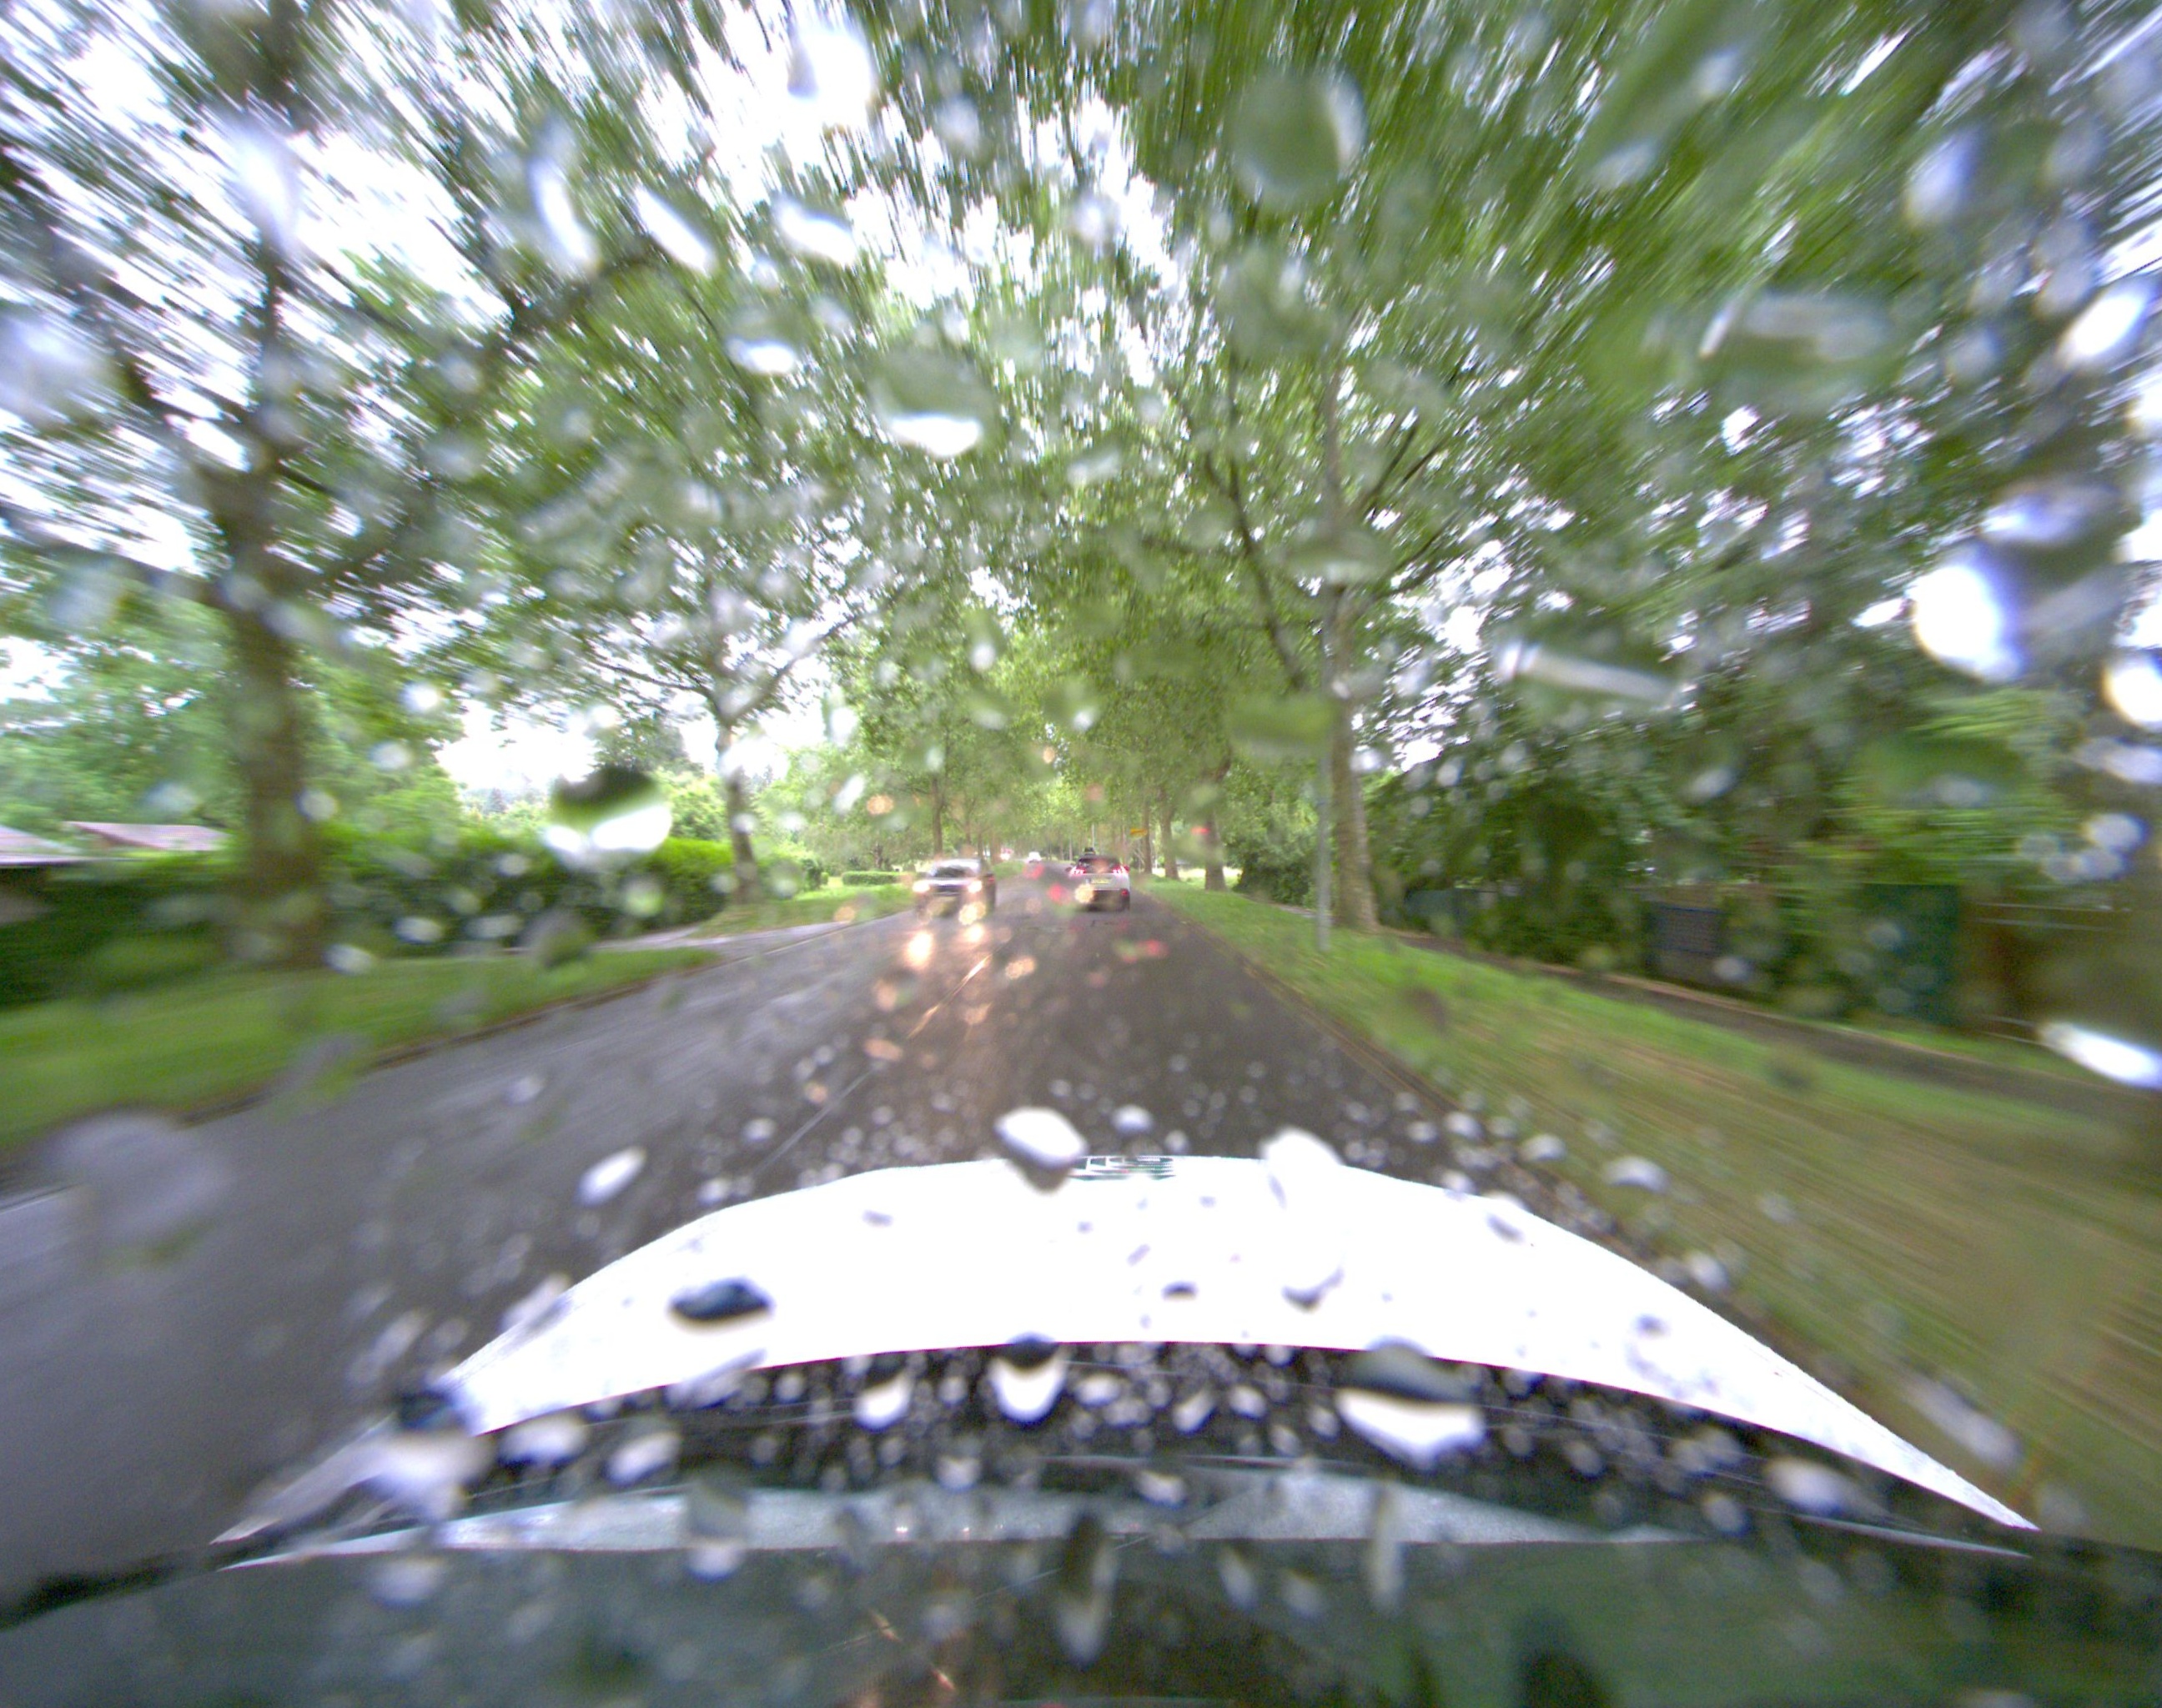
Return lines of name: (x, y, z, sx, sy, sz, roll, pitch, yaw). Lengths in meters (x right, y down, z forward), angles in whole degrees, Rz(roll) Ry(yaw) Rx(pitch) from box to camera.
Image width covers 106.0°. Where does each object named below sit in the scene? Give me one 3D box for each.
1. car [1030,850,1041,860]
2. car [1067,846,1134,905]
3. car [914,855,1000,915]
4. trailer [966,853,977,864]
car: (-8.028, 0.227, 144.165, 1.858, 1.750, 5.011, 0, 0, -2)
car: (0.592, 0.578, 23.921, 1.787, 1.578, 3.846, 0, 0, 2)
car: (-3.290, 0.779, 22.297, 1.840, 1.502, 3.997, 0, 0, -2)
trailer: (-25.899, 0.956, 192.731, 2.483, 2.567, 5.318, 0, 0, -8)
